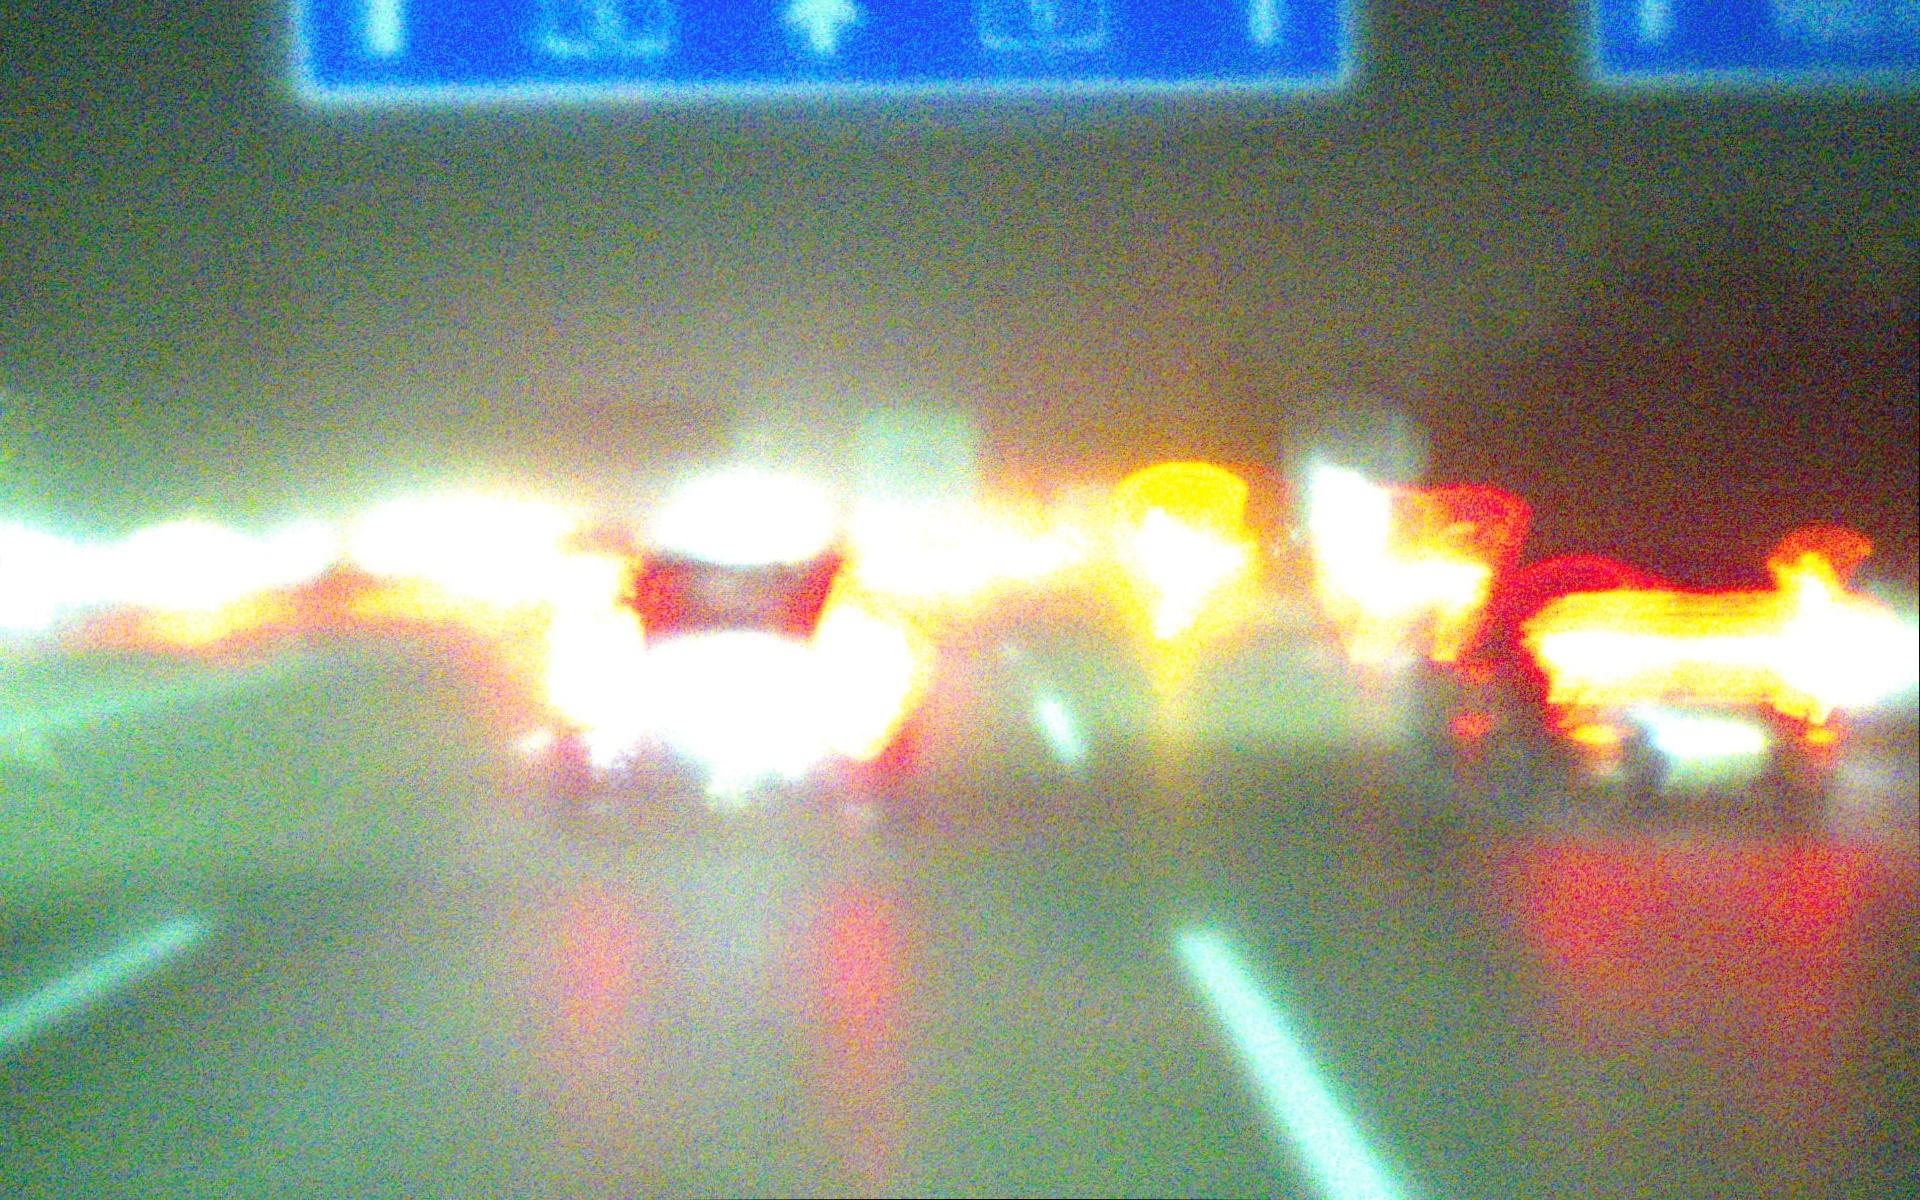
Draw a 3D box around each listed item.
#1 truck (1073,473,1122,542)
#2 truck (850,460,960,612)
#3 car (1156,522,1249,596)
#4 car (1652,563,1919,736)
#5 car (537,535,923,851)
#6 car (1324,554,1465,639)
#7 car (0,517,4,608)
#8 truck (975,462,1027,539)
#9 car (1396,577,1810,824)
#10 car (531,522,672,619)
[{"bbox_3d":[6.381,-4.270,159.771,1.993,3.032,6.465,-3,1,1],"label":"truck"},{"bbox_3d":[-1.127,-1.357,73.597,1.993,3.032,6.465,-3,1,1],"label":"truck"},{"bbox_3d":[5.465,-0.944,77.850,1.863,1.612,4.000,1,1,1],"label":"car"},{"bbox_3d":[6.643,0.354,27.020,1.580,1.242,3.069,1,1,-4],"label":"car"},{"bbox_3d":[-1.119,0.408,18.380,1.802,1.482,4.000,1,1,0],"label":"car"},{"bbox_3d":[6.702,-0.069,53.308,1.580,1.242,3.069,1,1,-4],"label":"car"},{"bbox_3d":[-17.806,-0.615,58.184,1.993,1.593,4.594,1,1,0],"label":"car"},{"bbox_3d":[1.751,-4.128,144.073,1.993,3.032,6.465,-3,1,1],"label":"truck"},{"bbox_3d":[3.582,0.523,19.630,1.580,1.242,3.069,1,1,-4],"label":"car"},{"bbox_3d":[-4.991,-0.426,48.219,1.662,1.232,3.762,-3,1,-2],"label":"car"}]
